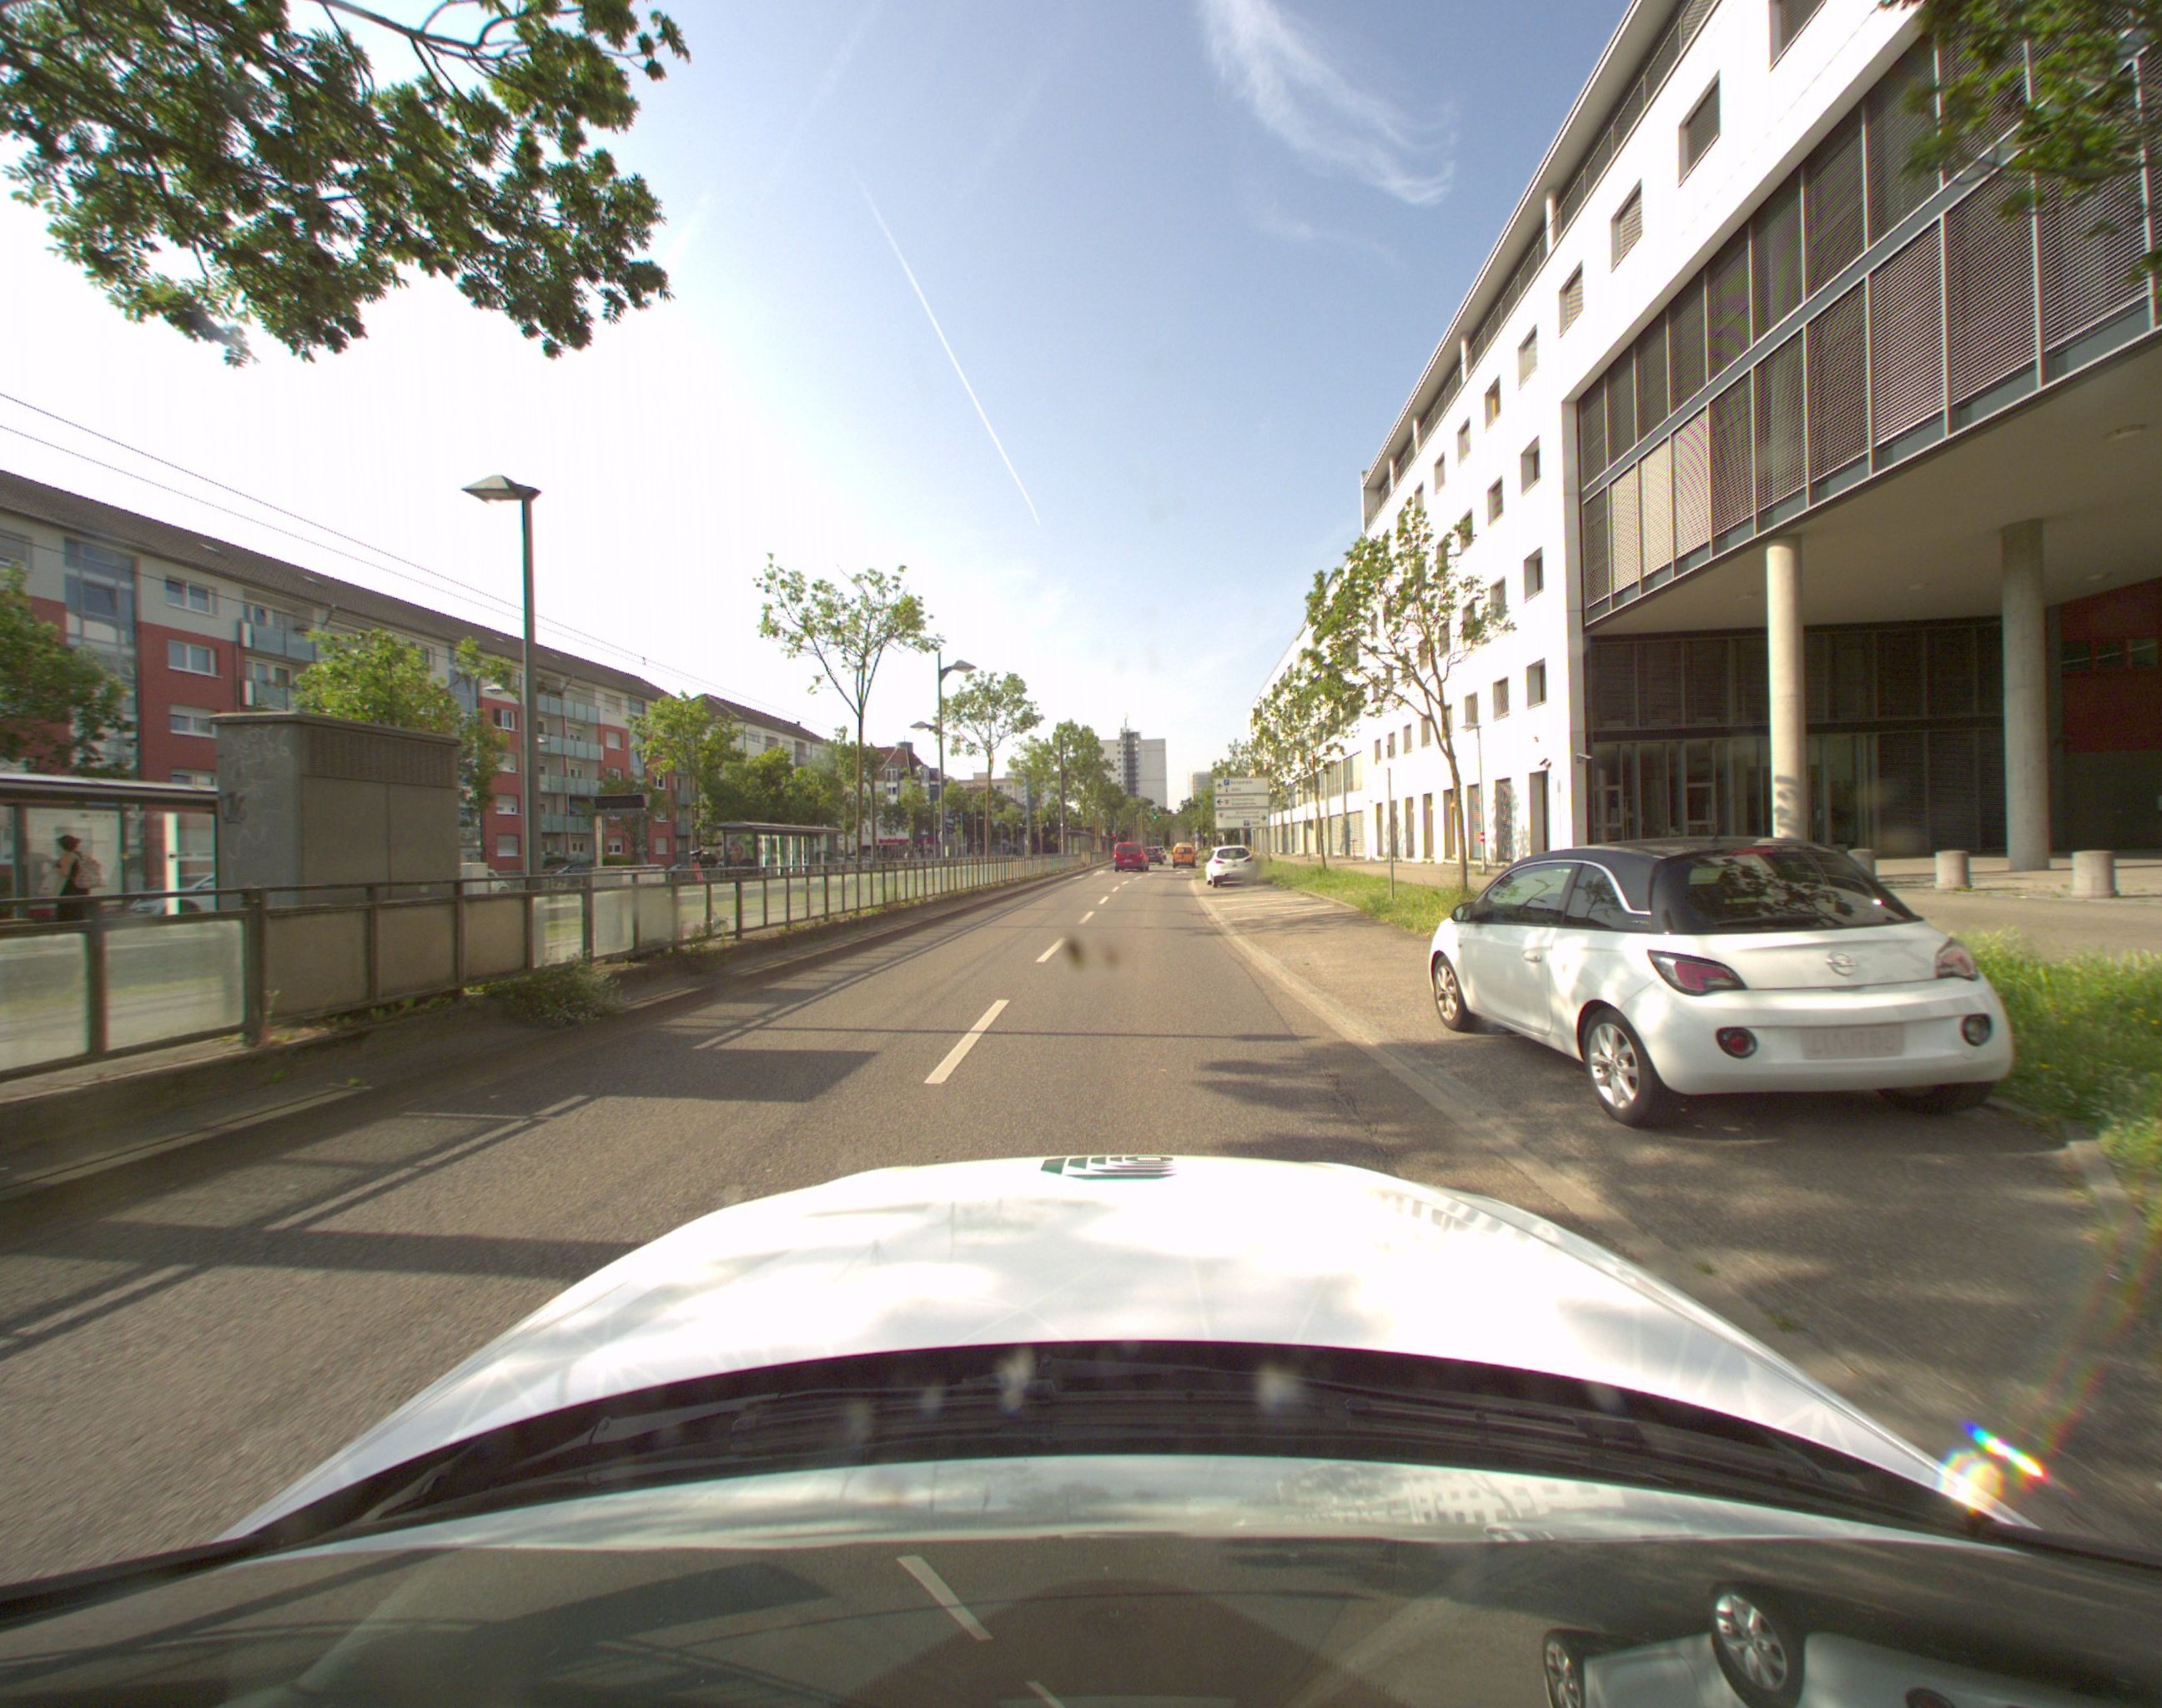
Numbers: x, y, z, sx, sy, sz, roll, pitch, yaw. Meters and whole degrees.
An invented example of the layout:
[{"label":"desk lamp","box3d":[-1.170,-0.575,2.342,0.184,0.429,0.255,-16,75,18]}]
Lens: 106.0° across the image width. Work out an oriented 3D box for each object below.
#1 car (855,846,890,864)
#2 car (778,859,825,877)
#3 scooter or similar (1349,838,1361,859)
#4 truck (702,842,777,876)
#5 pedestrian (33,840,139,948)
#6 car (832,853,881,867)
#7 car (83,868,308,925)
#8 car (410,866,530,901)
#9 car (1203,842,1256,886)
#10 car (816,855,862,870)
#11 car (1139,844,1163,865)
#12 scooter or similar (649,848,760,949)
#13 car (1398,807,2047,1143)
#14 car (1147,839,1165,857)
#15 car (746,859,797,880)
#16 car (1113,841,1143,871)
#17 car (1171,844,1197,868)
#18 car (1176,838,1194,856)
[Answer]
[{"label":"car","box3d":[-24.289,0.083,94.954,2.355,2.030,5.318,0,0,5]},{"label":"car","box3d":[-23.478,1.130,68.549,1.971,1.379,4.690,0,0,5]},{"label":"scooter or similar","box3d":[15.837,-0.323,47.149,0.459,1.213,1.258,-3,0,11]},{"label":"truck","box3d":[-26.982,0.365,64.787,2.355,2.563,7.251,0,0,5]},{"label":"pedestrian","box3d":[-15.902,0.621,13.037,0.669,1.653,0.795,-2,0,1]},{"label":"car","box3d":[-20.789,0.560,75.528,3.953,1.244,1.949,-1,0,21]},{"label":"car","box3d":[-27.757,1.263,25.809,1.971,1.556,4.543,0,0,5]},{"label":"car","box3d":[-26.608,1.233,35.645,1.971,1.360,4.075,0,0,5]},{"label":"car","box3d":[5.740,0.364,31.853,1.680,1.526,3.857,-3,0,6]},{"label":"car","box3d":[-21.390,0.793,71.878,3.948,1.244,1.844,-1,0,36]},{"label":"car","box3d":[6.271,0.015,72.577,1.984,1.706,4.006,-2,0,5]},{"label":"scooter or similar","box3d":[-4.955,0.560,10.775,0.422,1.239,1.270,-2,0,33]},{"label":"car","box3d":[3.672,0.541,5.641,1.712,1.519,3.786,-2,1,5]},{"label":"car","box3d":[8.631,-0.703,94.366,1.984,2.013,4.005,-2,0,4]},{"label":"car","box3d":[-23.911,1.148,63.080,1.971,1.513,4.286,0,0,5]},{"label":"car","box3d":[3.086,0.106,52.719,1.866,1.853,4.005,-1,0,4]},{"label":"car","box3d":[7.822,0.132,62.174,1.866,1.696,3.980,-1,0,6]},{"label":"car","box3d":[12.361,-0.855,96.963,1.984,2.013,4.006,-2,0,5]}]
